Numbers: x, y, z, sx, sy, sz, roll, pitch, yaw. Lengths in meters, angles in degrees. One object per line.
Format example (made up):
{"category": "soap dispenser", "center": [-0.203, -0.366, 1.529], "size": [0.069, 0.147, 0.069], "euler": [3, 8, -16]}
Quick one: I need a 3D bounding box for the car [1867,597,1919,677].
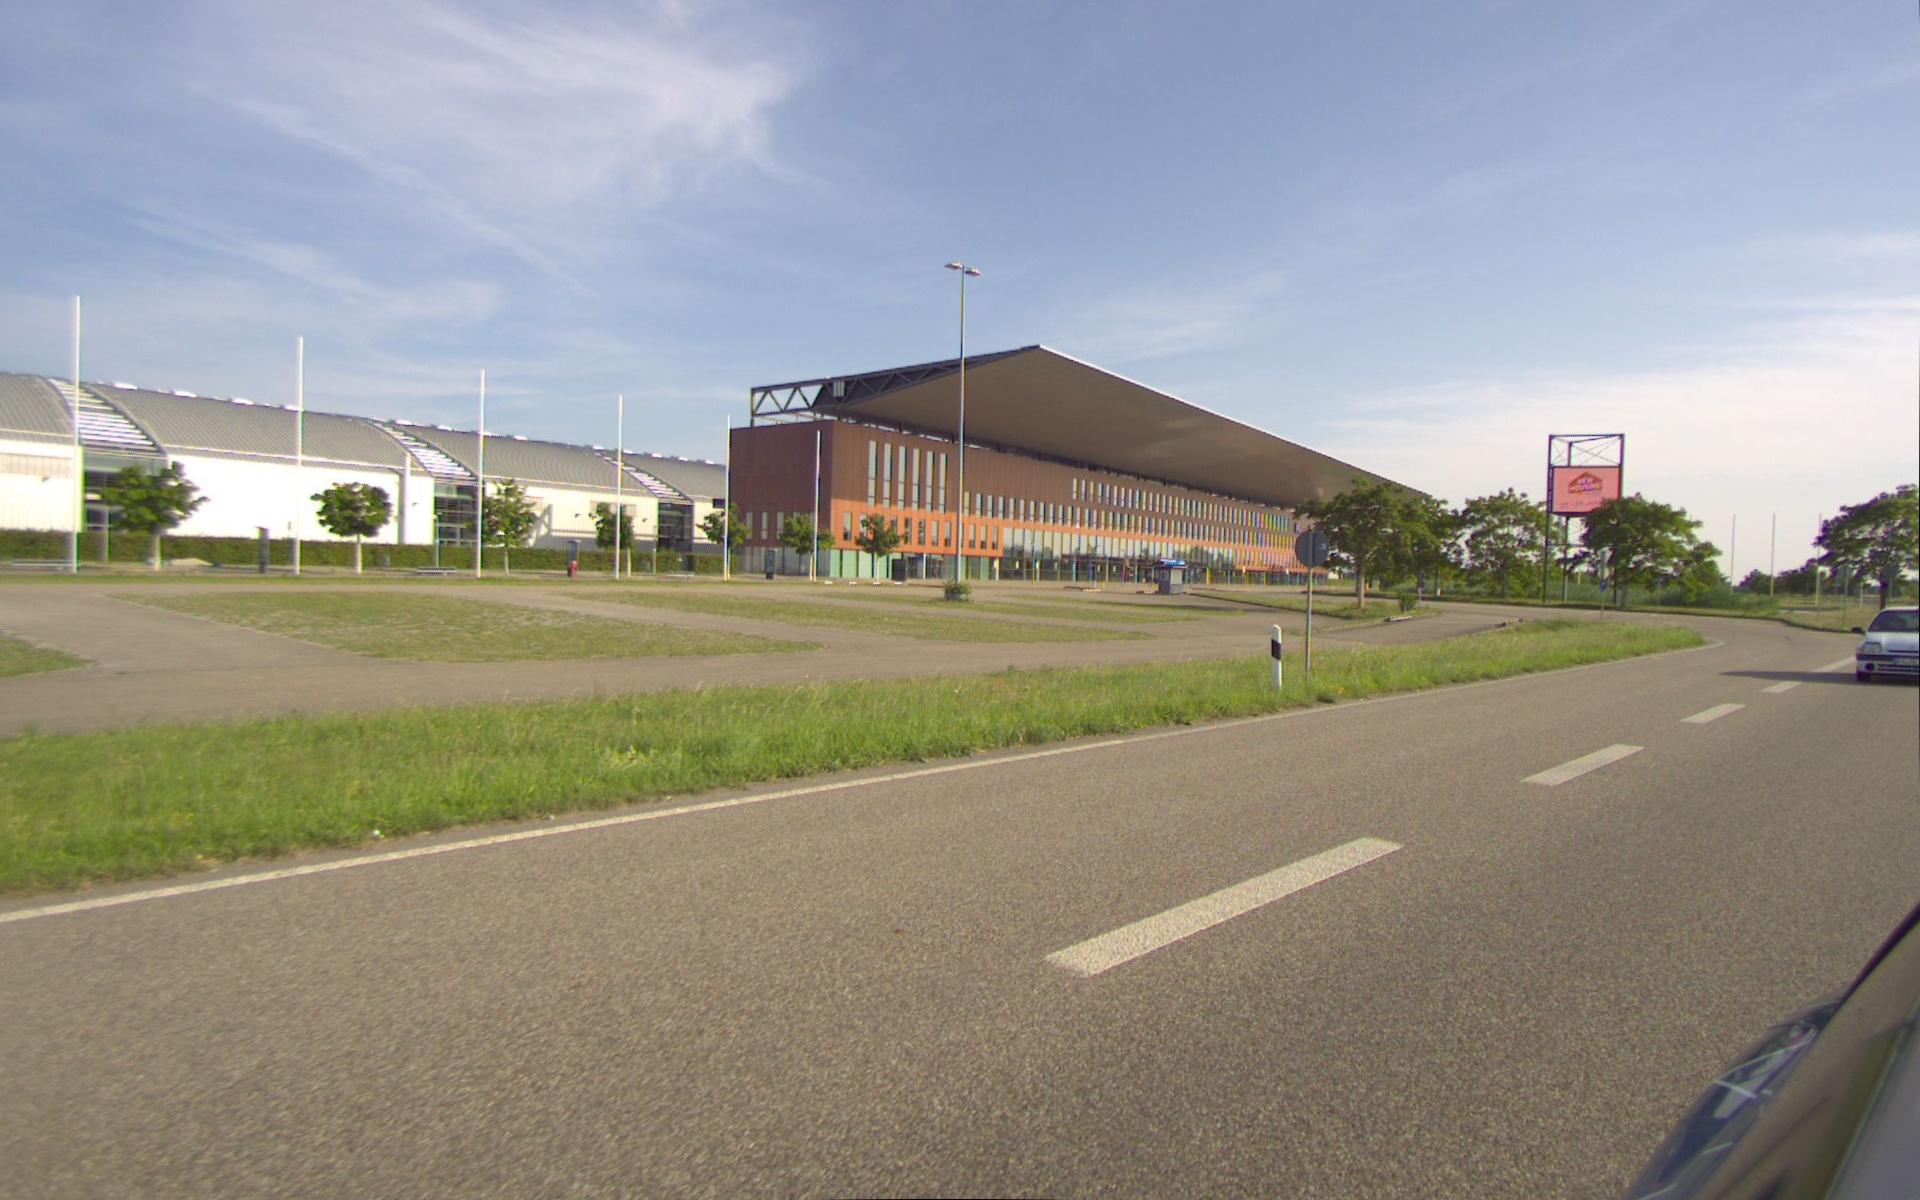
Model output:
{"category": "car", "center": [18.224, 0.655, 18.930], "size": [3.393, 1.396, 1.576], "euler": [0, 1, -43]}
